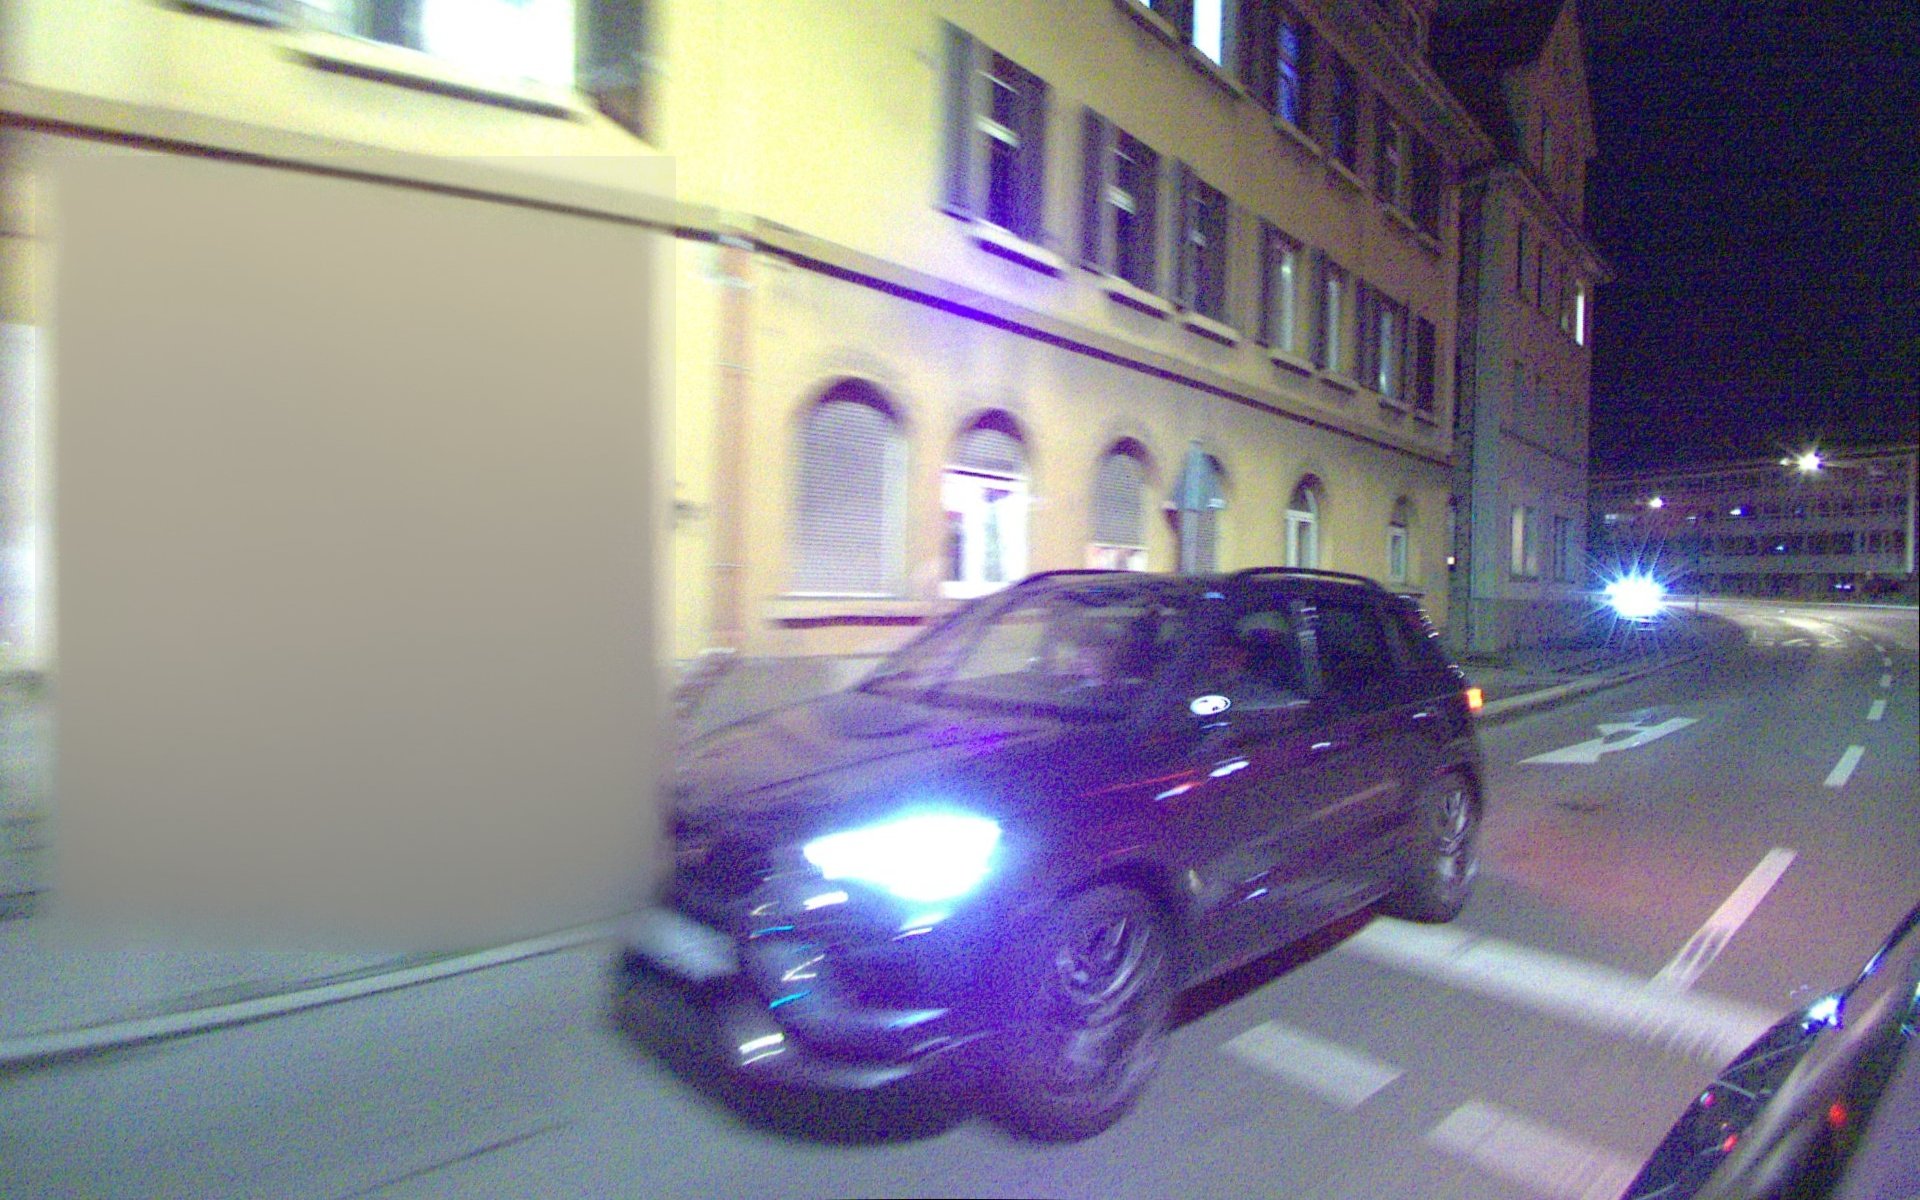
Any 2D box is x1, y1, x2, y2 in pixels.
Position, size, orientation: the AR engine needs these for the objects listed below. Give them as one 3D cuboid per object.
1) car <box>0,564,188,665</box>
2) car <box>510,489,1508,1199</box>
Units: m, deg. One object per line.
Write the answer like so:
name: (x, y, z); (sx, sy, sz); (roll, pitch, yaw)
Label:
car: (-15.610, 0.196, 18.027); (1.958, 1.609, 4.008); (0, 1, -22)
car: (0.509, 0.534, 4.201); (3.934, 1.636, 1.996); (-1, 2, -44)
